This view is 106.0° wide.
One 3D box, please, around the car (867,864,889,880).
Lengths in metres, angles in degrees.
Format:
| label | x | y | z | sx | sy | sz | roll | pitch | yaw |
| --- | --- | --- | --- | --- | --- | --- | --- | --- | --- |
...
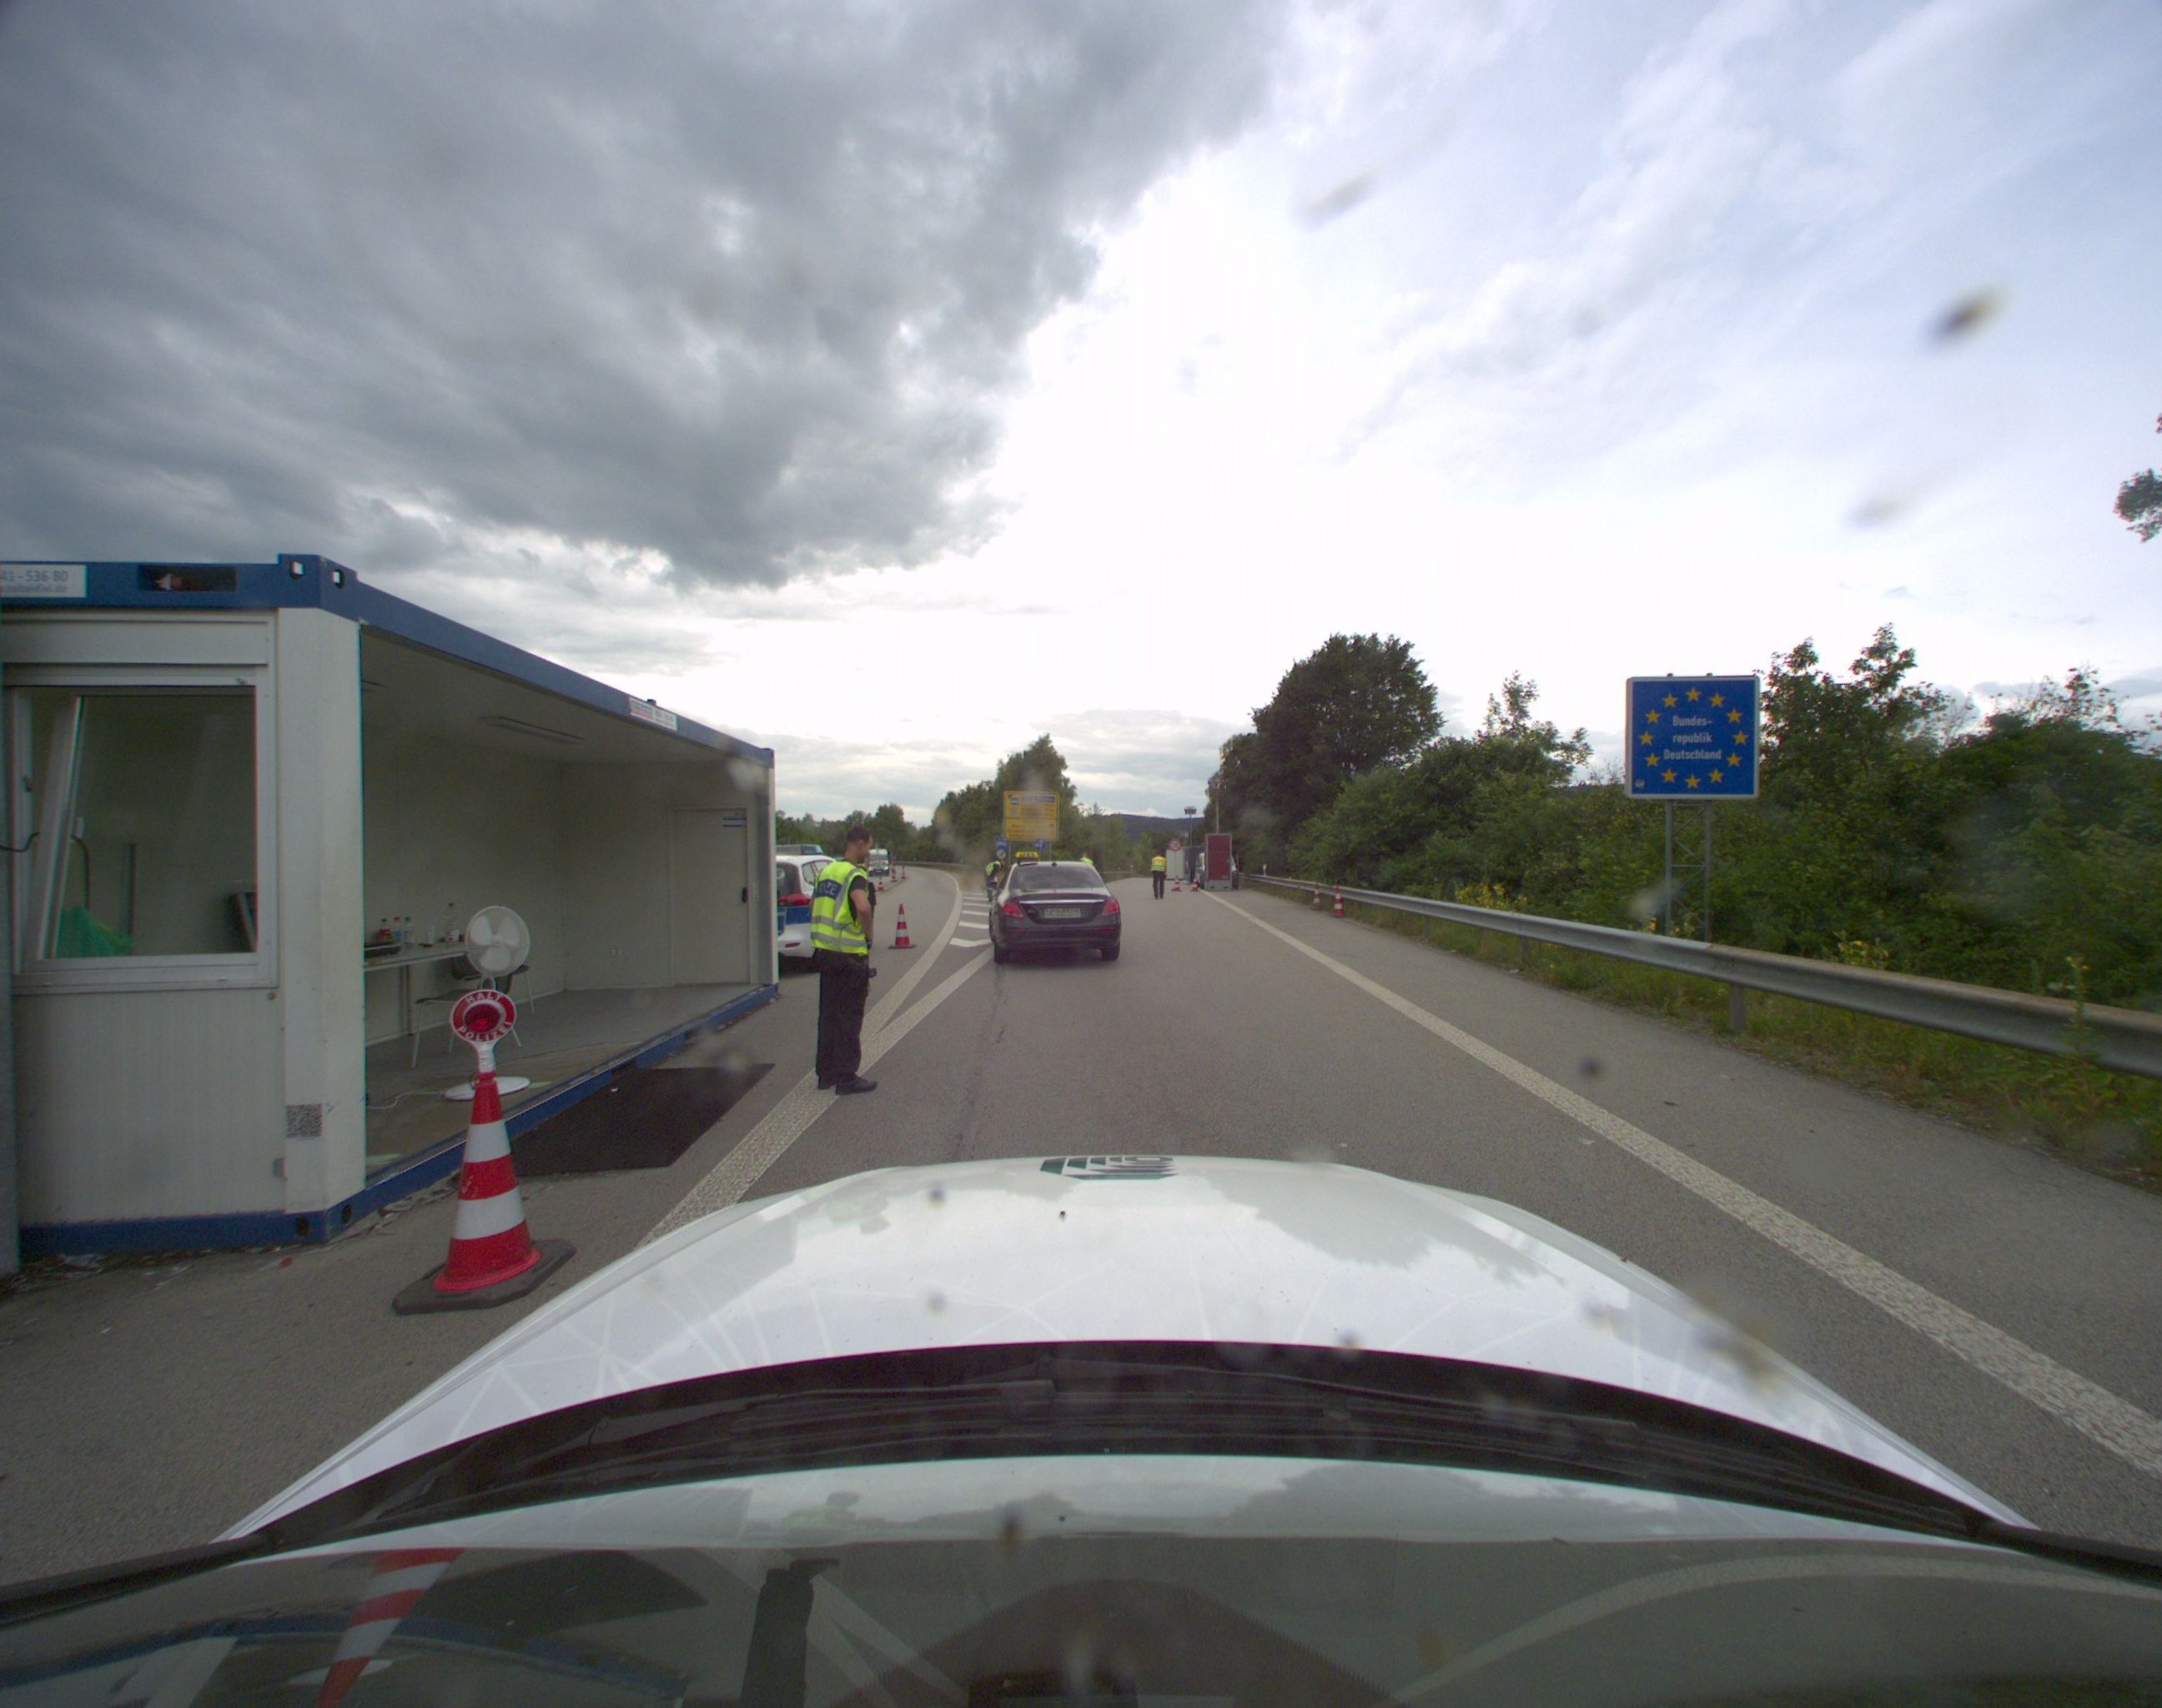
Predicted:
| label | x | y | z | sx | sy | sz | roll | pitch | yaw |
| --- | --- | --- | --- | --- | --- | --- | --- | --- | --- |
| car | -18.761 | 1.659 | 75.417 | 1.853 | 1.463 | 3.982 | -1 | -1 | -13 |

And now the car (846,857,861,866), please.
| label | x | y | z | sx | sy | sz | roll | pitch | yaw |
| --- | --- | --- | --- | --- | --- | --- | --- | --- | --- |
| car | -35.448 | 1.165 | 127.002 | 1.859 | 1.463 | 3.971 | 0 | -1 | -21 |

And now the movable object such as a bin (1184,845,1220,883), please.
| label | x | y | z | sx | sy | sz | roll | pitch | yaw |
| --- | --- | --- | --- | --- | --- | --- | --- | --- | --- |
| movable object such as a bin | 7.645 | 0.591 | 51.690 | 1.984 | 2.280 | 4.173 | -1 | 0 | 5 |

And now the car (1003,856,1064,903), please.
| label | x | y | z | sx | sy | sz | roll | pitch | yaw |
| --- | --- | --- | --- | --- | --- | --- | --- | --- | --- |
| car | -1.578 | 0.826 | 28.287 | 1.849 | 1.498 | 4.255 | -1 | 0 | 0 |

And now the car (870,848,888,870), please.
| label | x | y | z | sx | sy | sz | roll | pitch | yaw |
| --- | --- | --- | --- | --- | --- | --- | --- | --- | --- |
| car | -21.929 | 0.533 | 88.405 | 1.858 | 2.222 | 4.237 | -1 | 0 | -13 |

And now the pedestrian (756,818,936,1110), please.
| label | x | y | z | sx | sy | sz | roll | pitch | yaw |
| --- | --- | --- | --- | --- | --- | --- | --- | --- | --- |
| pedestrian | -1.535 | 0.651 | 5.348 | 0.752 | 1.718 | 0.823 | -2 | -1 | 39 |

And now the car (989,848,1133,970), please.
| label | x | y | z | sx | sy | sz | roll | pitch | yaw |
| --- | --- | --- | --- | --- | --- | --- | --- | --- | --- |
| car | -0.505 | 0.737 | 13.125 | 1.854 | 1.595 | 4.364 | -1 | 0 | -8 |

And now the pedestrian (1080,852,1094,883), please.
| label | x | y | z | sx | sy | sz | roll | pitch | yaw |
| --- | --- | --- | --- | --- | --- | --- | --- | --- | --- |
| pedestrian | 0.368 | 0.863 | 51.377 | 0.658 | 1.961 | 0.763 | -1 | -1 | 18 |

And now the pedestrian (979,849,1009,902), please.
| label | x | y | z | sx | sy | sz | roll | pitch | yaw |
| --- | --- | --- | --- | --- | --- | --- | --- | --- | --- |
| pedestrian | -3.015 | 0.734 | 28.240 | 0.908 | 1.769 | 0.911 | -1 | 0 | -1 |

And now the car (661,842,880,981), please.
| label | x | y | z | sx | sy | sz | roll | pitch | yaw |
| --- | --- | --- | --- | --- | --- | --- | --- | --- | --- |
| car | -4.485 | 0.741 | 12.477 | 1.864 | 1.743 | 4.005 | -1 | 0 | -2 |

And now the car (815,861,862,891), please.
| label | x | y | z | sx | sy | sz | roll | pitch | yaw |
| --- | --- | --- | --- | --- | --- | --- | --- | --- | --- |
| car | -13.014 | 1.137 | 43.914 | 1.855 | 1.498 | 4.243 | -1 | 0 | -9 |

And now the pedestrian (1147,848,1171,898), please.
| label | x | y | z | sx | sy | sz | roll | pitch | yaw |
| --- | --- | --- | --- | --- | --- | --- | --- | --- | --- |
| pedestrian | 2.920 | 0.703 | 30.461 | 0.809 | 1.830 | 0.810 | -1 | -1 | 2 |

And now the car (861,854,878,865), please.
| label | x | y | z | sx | sy | sz | roll | pitch | yaw |
| --- | --- | --- | --- | --- | --- | --- | --- | --- | --- |
| car | -28.476 | 0.752 | 109.647 | 1.857 | 1.463 | 3.974 | 0 | -1 | -19 |

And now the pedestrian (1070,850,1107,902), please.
| label | x | y | z | sx | sy | sz | roll | pitch | yaw |
| --- | --- | --- | --- | --- | --- | --- | --- | --- | --- |
| pedestrian | 0.240 | 0.724 | 27.266 | 0.914 | 1.698 | 0.905 | -1 | -1 | -29 |

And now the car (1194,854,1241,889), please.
| label | x | y | z | sx | sy | sz | roll | pitch | yaw |
| --- | --- | --- | --- | --- | --- | --- | --- | --- | --- |
| car | 7.123 | 0.863 | 42.852 | 1.908 | 1.678 | 5.088 | 1 | 0 | 4 |
